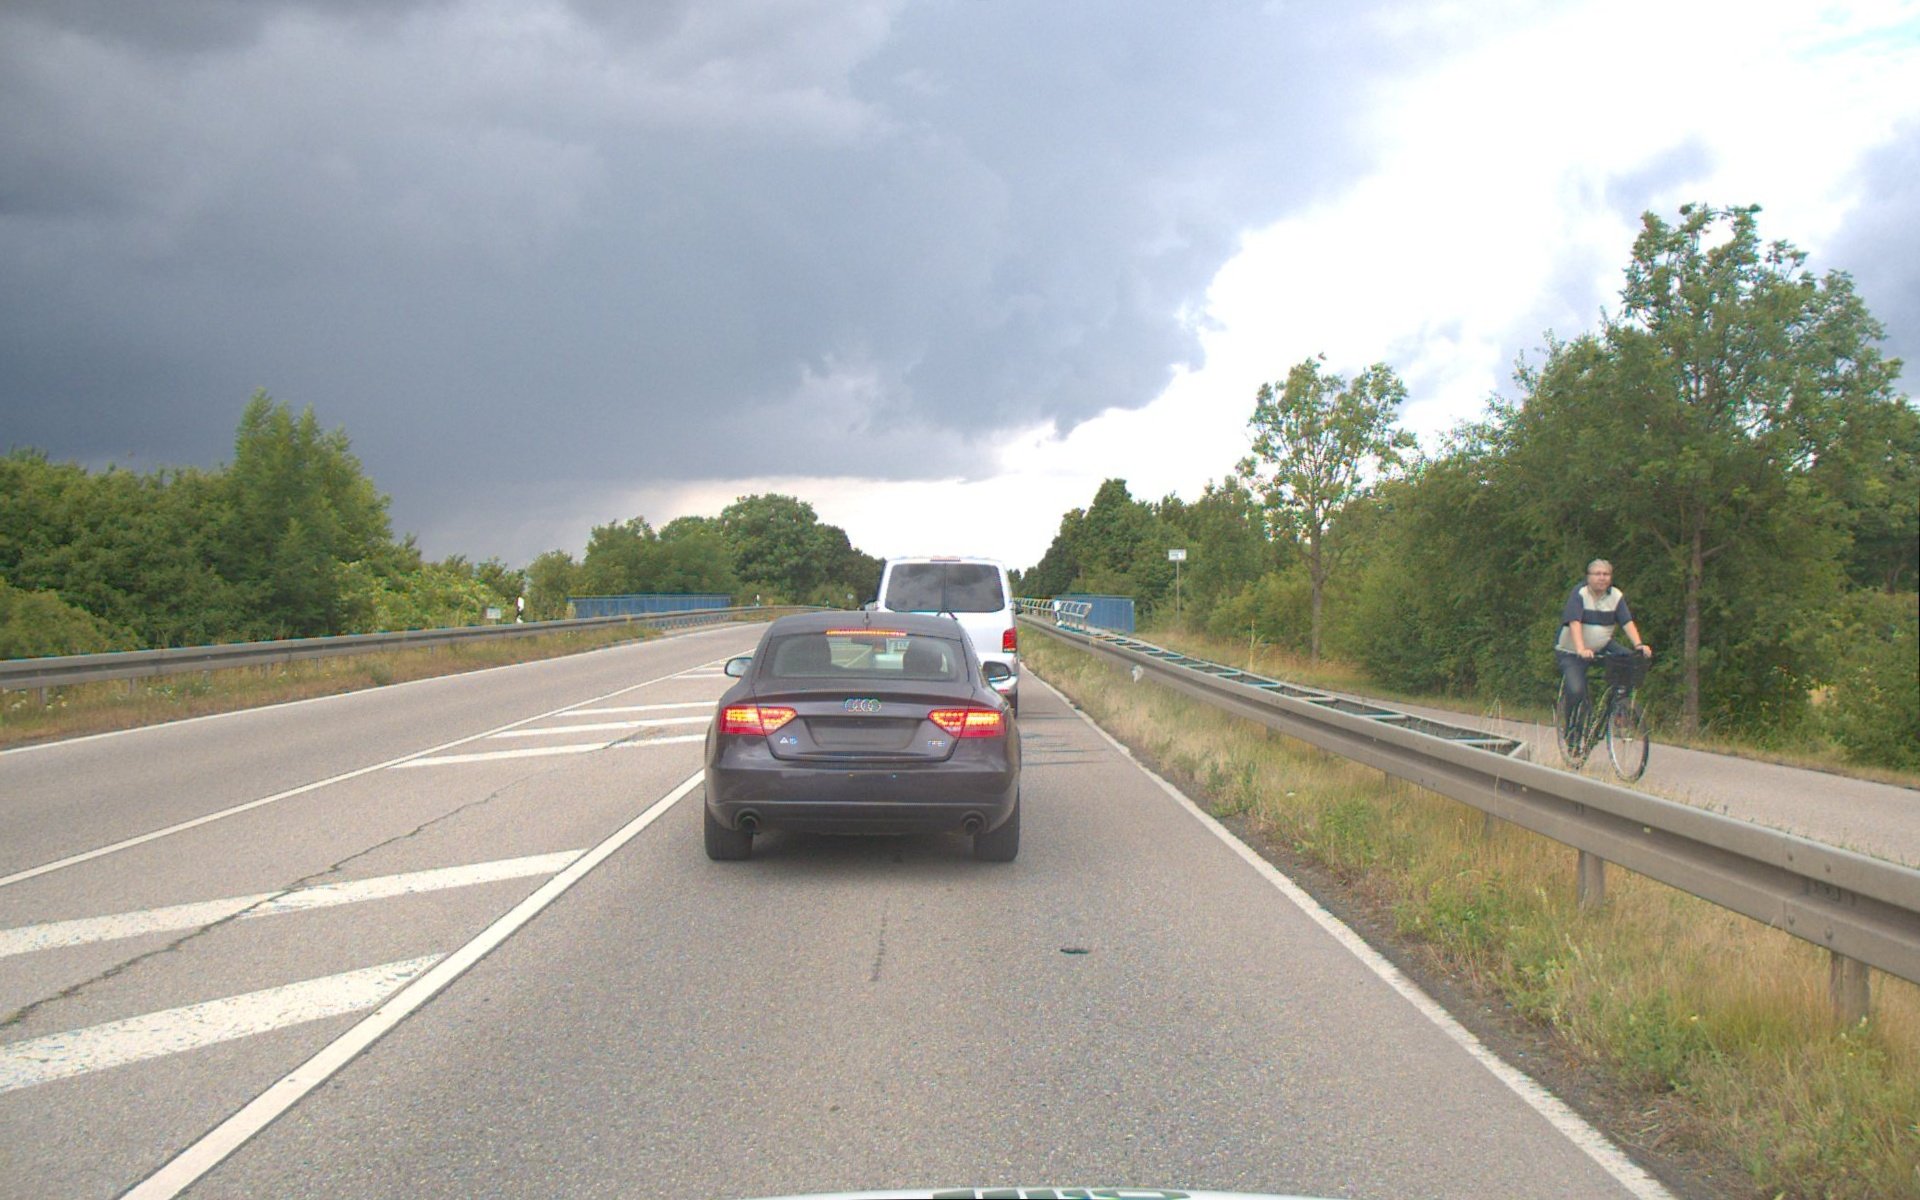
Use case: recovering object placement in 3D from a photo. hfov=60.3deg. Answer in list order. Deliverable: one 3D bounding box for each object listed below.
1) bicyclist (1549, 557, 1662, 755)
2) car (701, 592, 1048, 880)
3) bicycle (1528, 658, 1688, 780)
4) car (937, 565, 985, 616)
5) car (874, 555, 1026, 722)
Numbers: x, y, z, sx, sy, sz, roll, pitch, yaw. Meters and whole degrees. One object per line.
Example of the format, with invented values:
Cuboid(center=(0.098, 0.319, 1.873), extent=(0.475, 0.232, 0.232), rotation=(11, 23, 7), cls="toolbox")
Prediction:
Cuboid(center=(5.635, 0.477, 14.474), extent=(0.634, 1.674, 0.866), rotation=(0, 0, -1), cls="bicyclist")
Cuboid(center=(-0.462, 0.708, 10.441), extent=(1.749, 1.448, 3.999), rotation=(1, 0, -1), cls="car")
Cuboid(center=(5.638, 1.010, 14.501), extent=(0.652, 0.936, 1.830), rotation=(0, 0, -1), cls="bicycle")
Cuboid(center=(0.030, -0.506, 86.415), extent=(2.397, 2.548, 5.041), rotation=(1, 0, 0), cls="car")
Cuboid(center=(-0.148, 0.466, 21.402), extent=(1.749, 1.923, 3.999), rotation=(1, 0, -1), cls="car")
